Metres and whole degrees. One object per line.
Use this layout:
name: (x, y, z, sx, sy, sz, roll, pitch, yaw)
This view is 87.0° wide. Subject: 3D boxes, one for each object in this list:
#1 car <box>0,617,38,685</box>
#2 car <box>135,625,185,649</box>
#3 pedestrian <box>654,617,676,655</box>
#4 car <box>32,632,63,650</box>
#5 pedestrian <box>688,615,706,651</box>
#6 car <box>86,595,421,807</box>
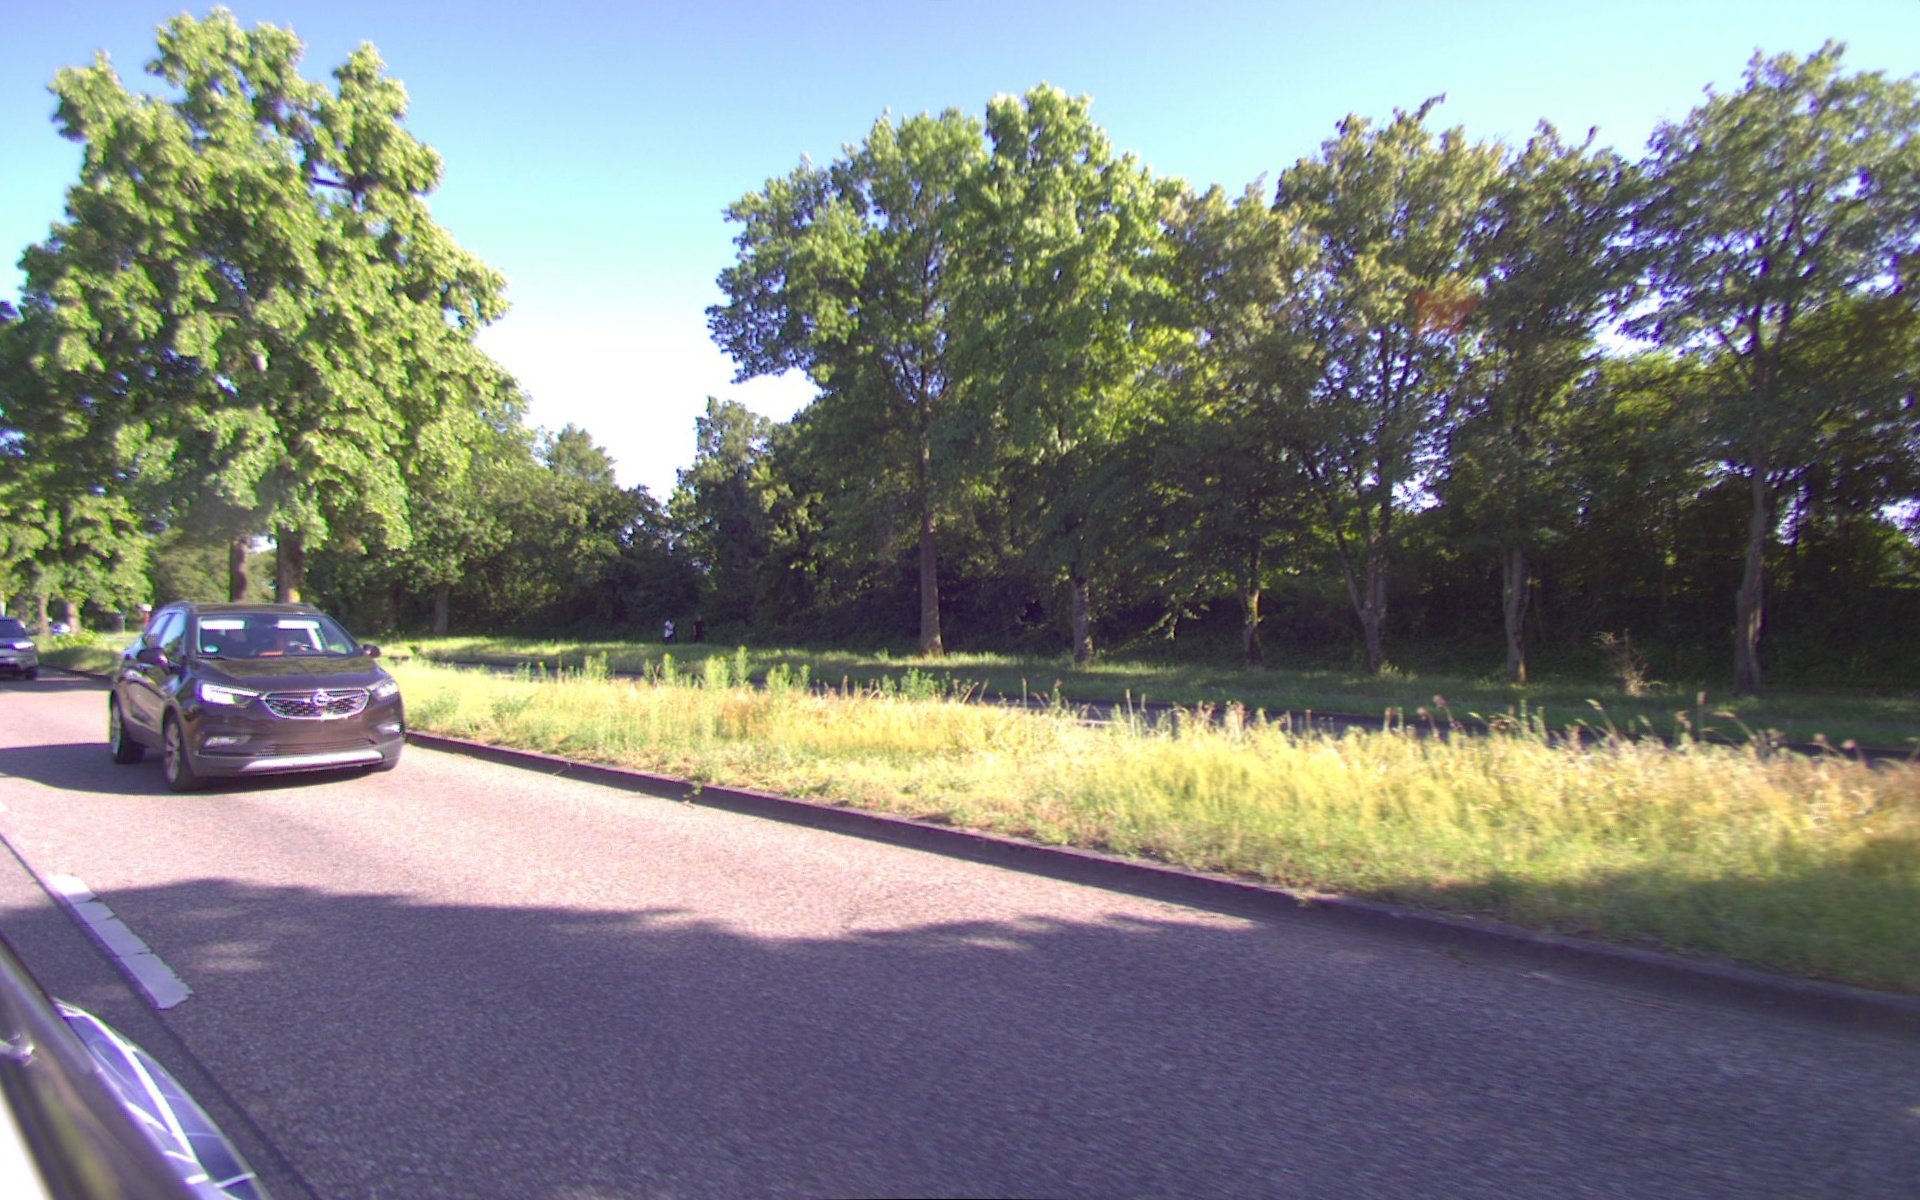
car: (-24.557, 1.247, 25.297, 4.104, 1.622, 1.765, -1, -2, 41)
car: (-52.081, 2.407, 65.858, 4.343, 1.468, 1.708, -2, -4, 41)
pedestrian: (-13.463, 1.646, 46.256, 0.679, 1.672, 0.675, -1, 1, 38)
car: (-85.673, 3.865, 94.999, 3.745, 1.590, 1.710, -2, -4, 41)
pedestrian: (-12.268, 1.523, 47.231, 0.539, 1.672, 0.554, -1, 0, 36)
car: (-7.104, 0.843, 9.985, 4.416, 1.644, 1.678, -1, -3, 41)
